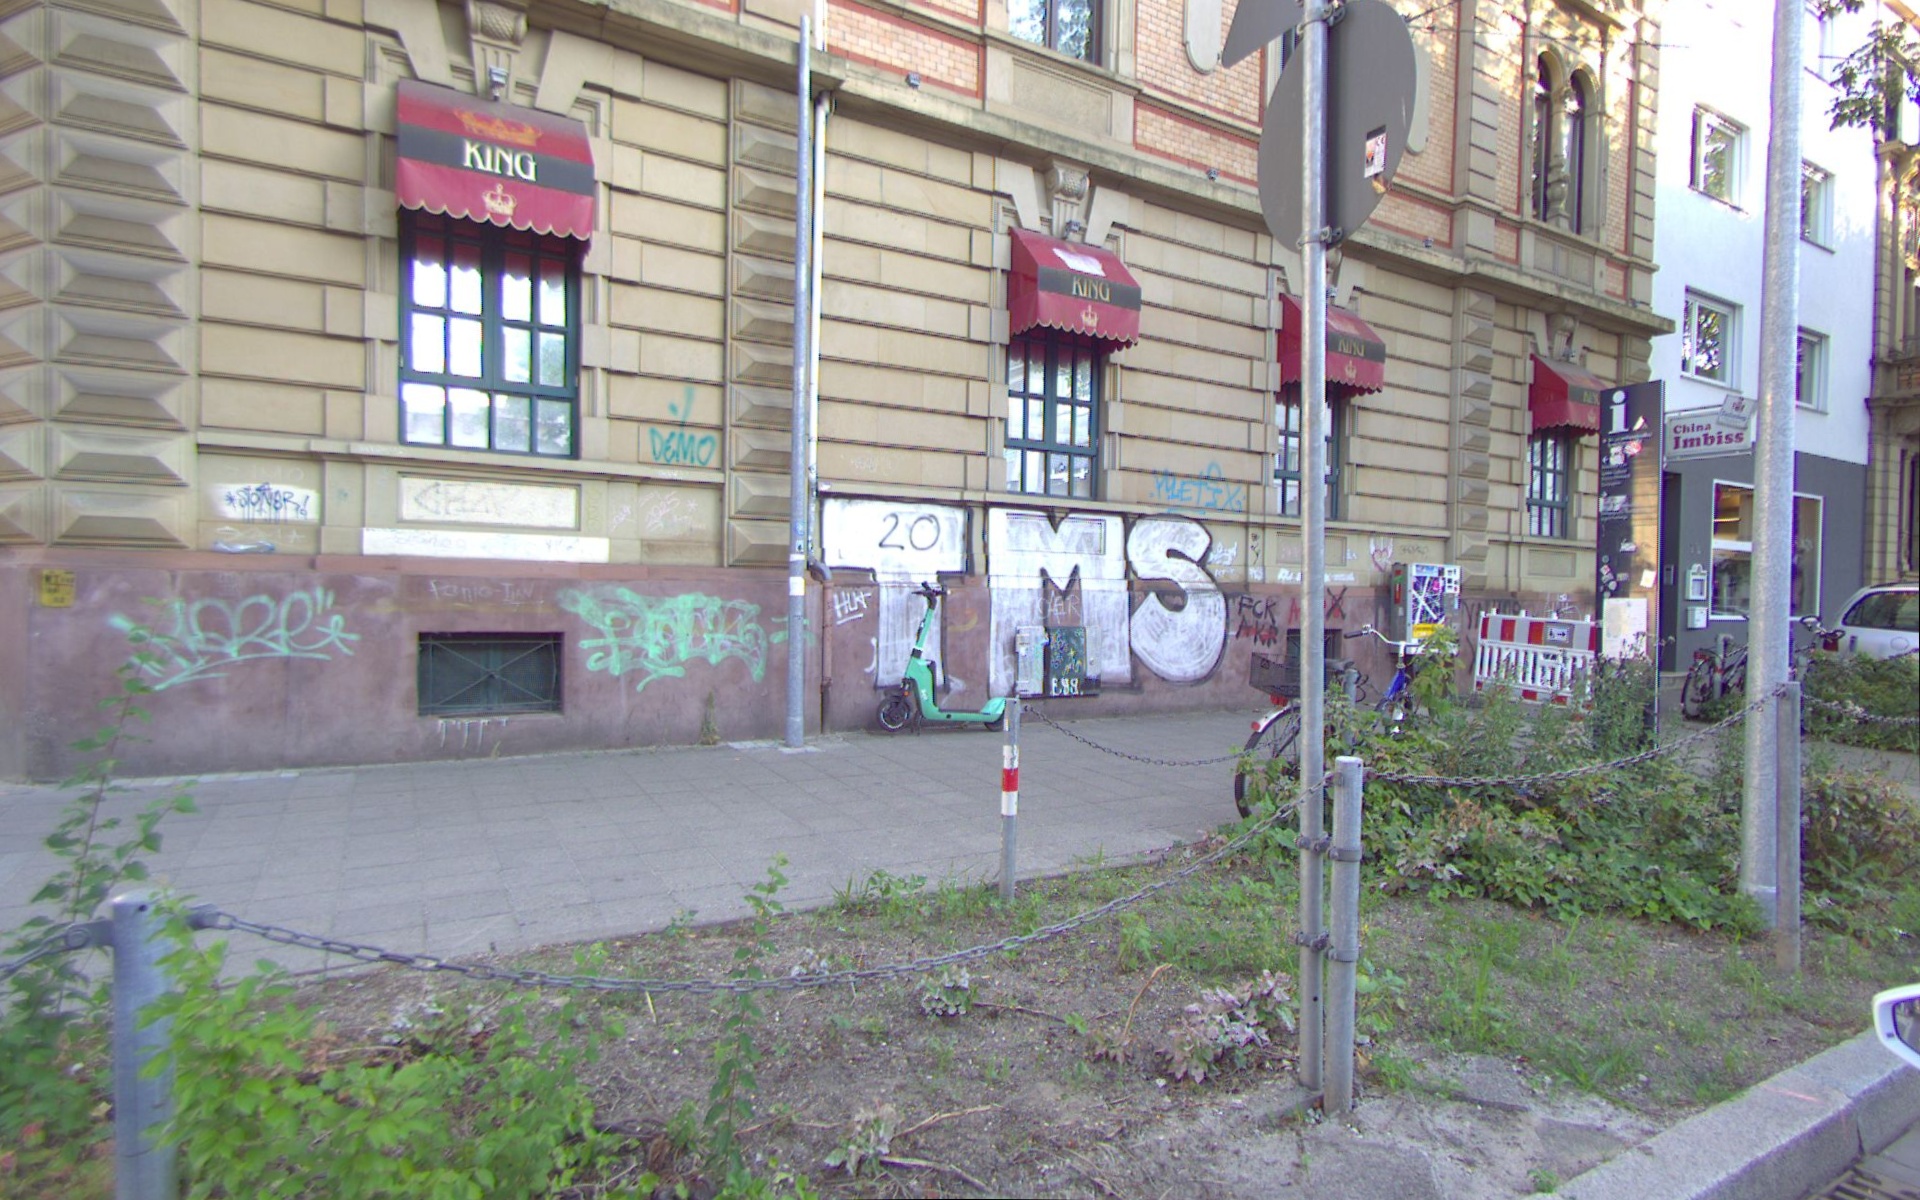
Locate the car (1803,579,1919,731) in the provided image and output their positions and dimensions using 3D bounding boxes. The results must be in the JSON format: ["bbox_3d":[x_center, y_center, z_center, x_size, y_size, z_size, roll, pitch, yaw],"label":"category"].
[{"bbox_3d":[13.150,0.697,11.896,1.813,1.859,4.523,1,0,-32],"label":"car"}]

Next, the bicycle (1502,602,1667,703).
[{"bbox_3d":[8.078,0.648,12.947,2.532,1.218,0.634,1,0,-29],"label":"bicycle"}]

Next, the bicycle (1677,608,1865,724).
[{"bbox_3d":[9.394,0.721,11.600,2.602,1.202,0.731,1,2,-29],"label":"bicycle"}]

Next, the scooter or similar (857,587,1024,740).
[{"bbox_3d":[-0.159,0.503,8.207,1.267,1.184,0.438,1,2,-18],"label":"scooter or similar"}]

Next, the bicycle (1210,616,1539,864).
[{"bbox_3d":[2.357,0.691,5.598,2.076,1.169,0.508,0,2,-30],"label":"bicycle"}]
